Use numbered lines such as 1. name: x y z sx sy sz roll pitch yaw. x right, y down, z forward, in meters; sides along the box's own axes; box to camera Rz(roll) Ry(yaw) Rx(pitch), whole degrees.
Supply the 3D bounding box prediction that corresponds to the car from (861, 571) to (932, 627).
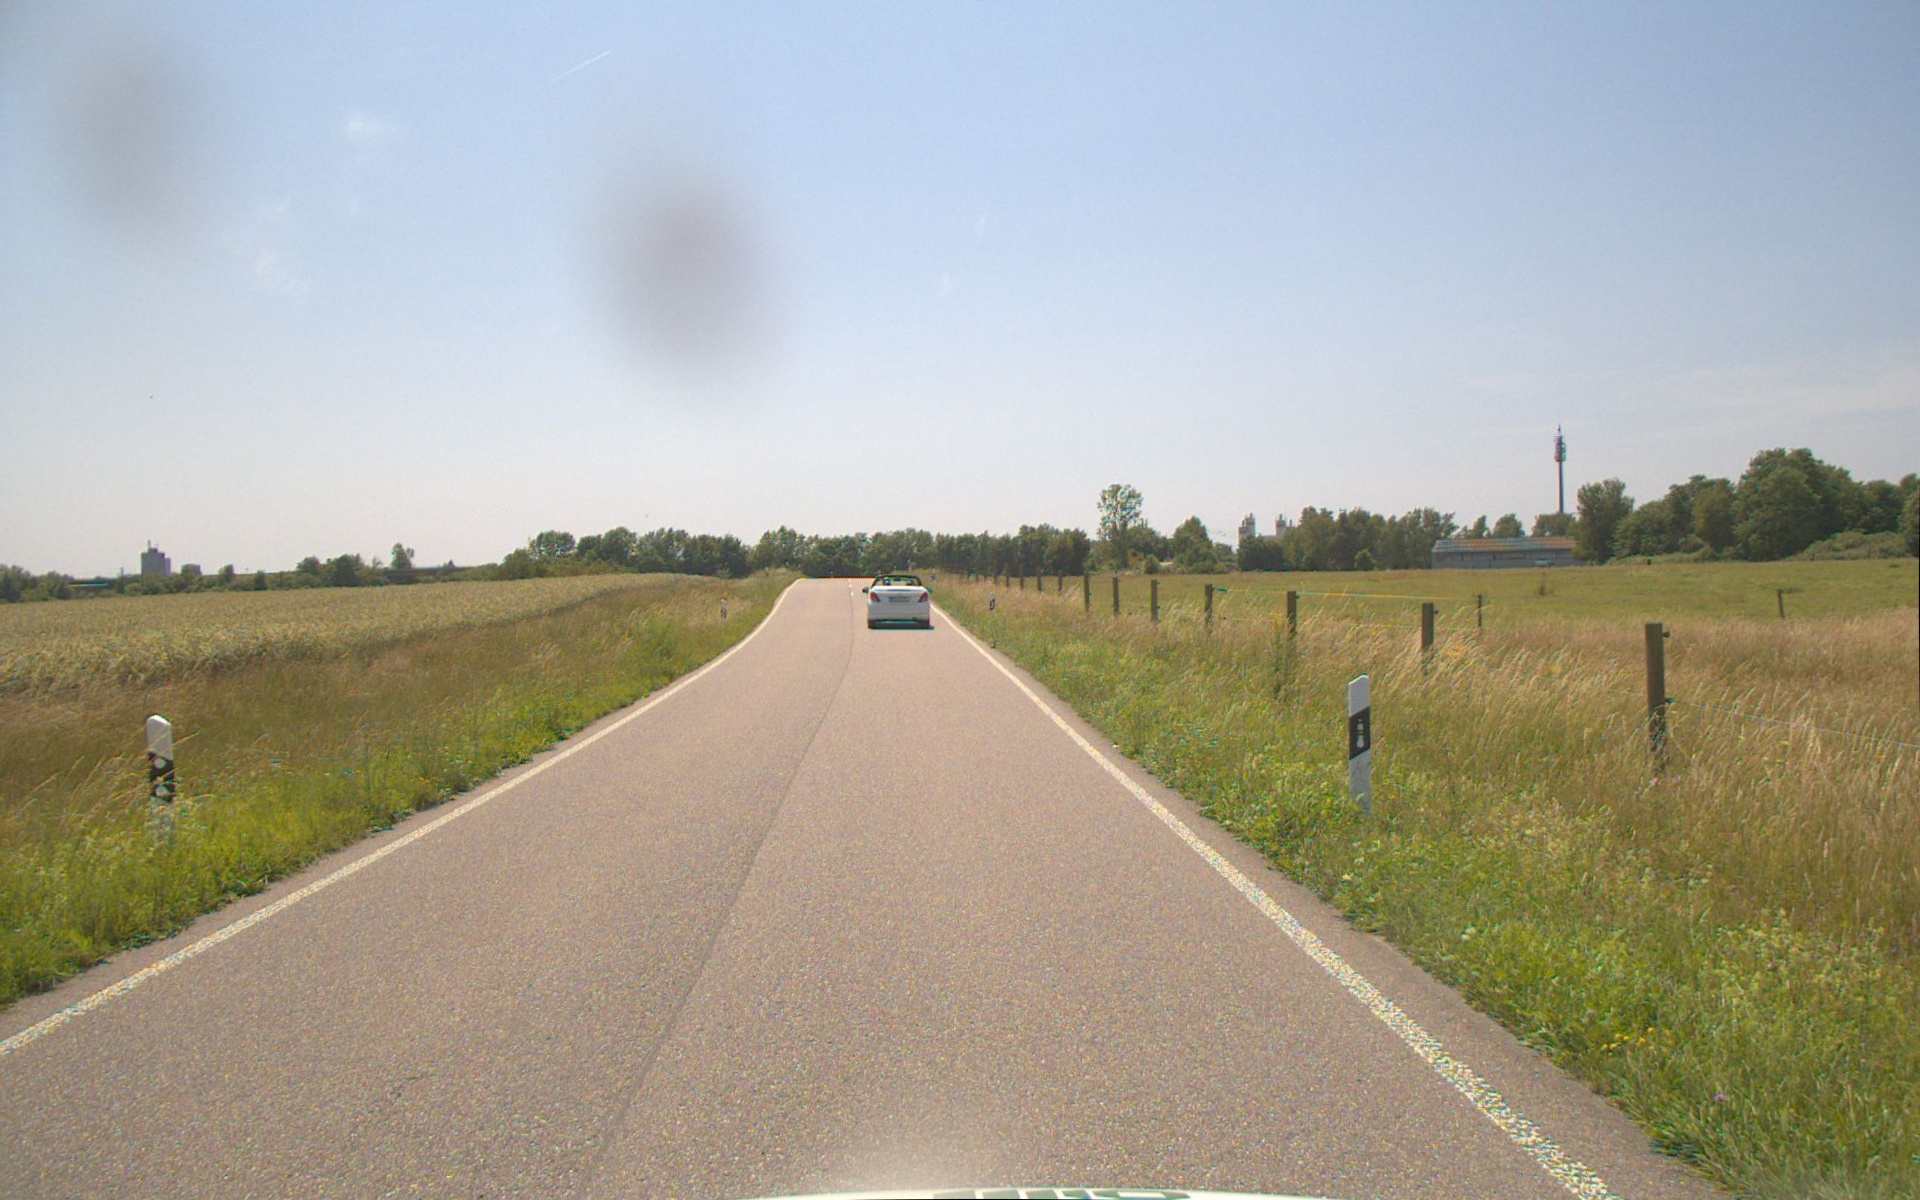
1. car: -1.778 -0.056 45.224 1.814 1.403 3.998 0 2 -4
